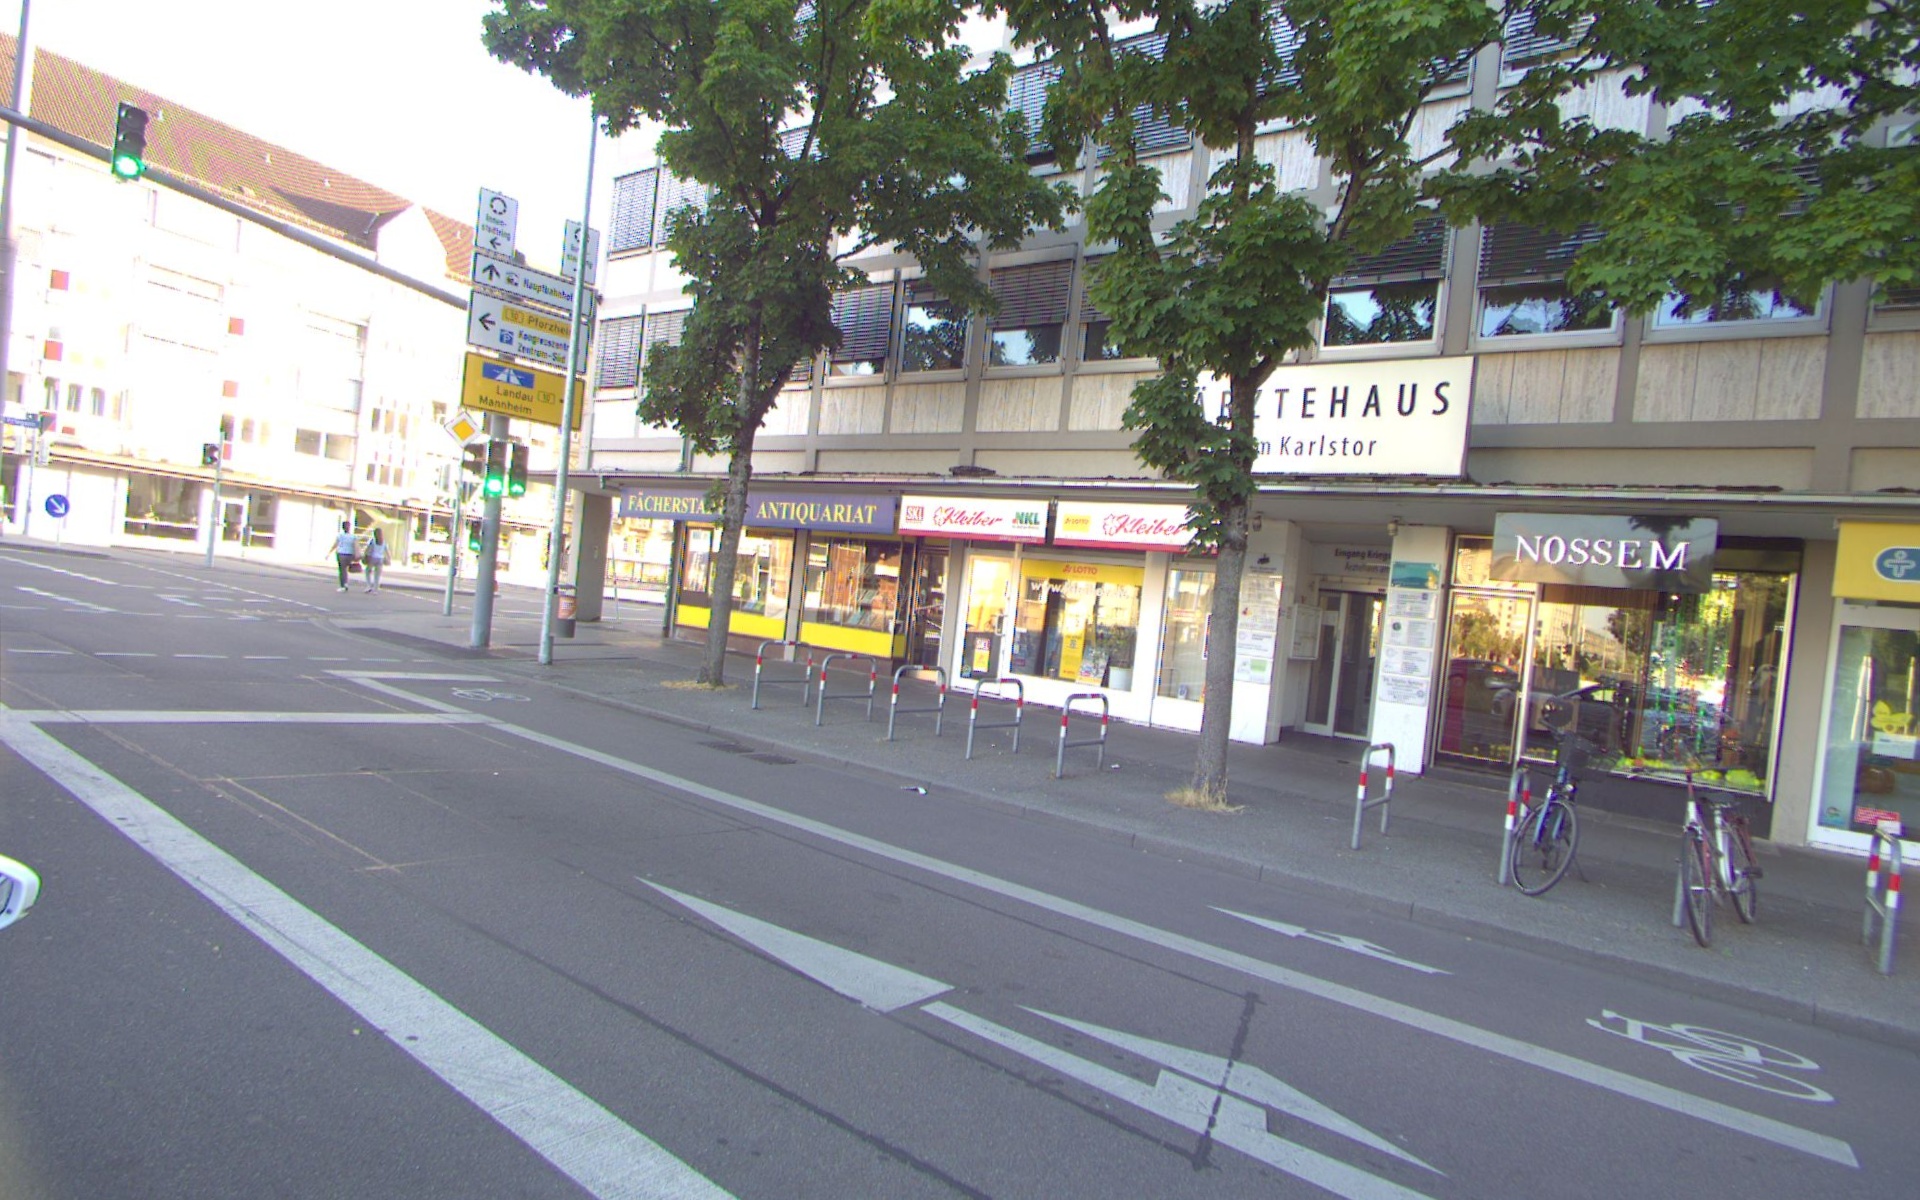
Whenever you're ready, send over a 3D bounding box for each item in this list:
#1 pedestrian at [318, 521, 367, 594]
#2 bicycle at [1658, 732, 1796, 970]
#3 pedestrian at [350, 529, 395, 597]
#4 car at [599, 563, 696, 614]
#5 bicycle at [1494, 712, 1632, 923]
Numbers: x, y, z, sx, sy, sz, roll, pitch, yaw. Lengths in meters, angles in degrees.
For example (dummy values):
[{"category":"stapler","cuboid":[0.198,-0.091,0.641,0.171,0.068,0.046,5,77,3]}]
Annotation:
[{"category":"pedestrian","cuboid":[-14.988,-1.034,24.438,0.716,1.670,0.768,6,1,-19]},{"category":"bicycle","cuboid":[4.966,1.545,6.566,0.530,1.200,1.631,7,1,36]},{"category":"pedestrian","cuboid":[-14.808,-0.928,25.368,0.695,1.603,0.822,6,1,-19]},{"category":"car","cuboid":[-17.412,-0.637,56.229,2.192,1.565,4.618,3,-14,39]},{"category":"bicycle","cuboid":[4.330,1.488,7.322,0.655,1.155,1.742,7,1,29]}]
